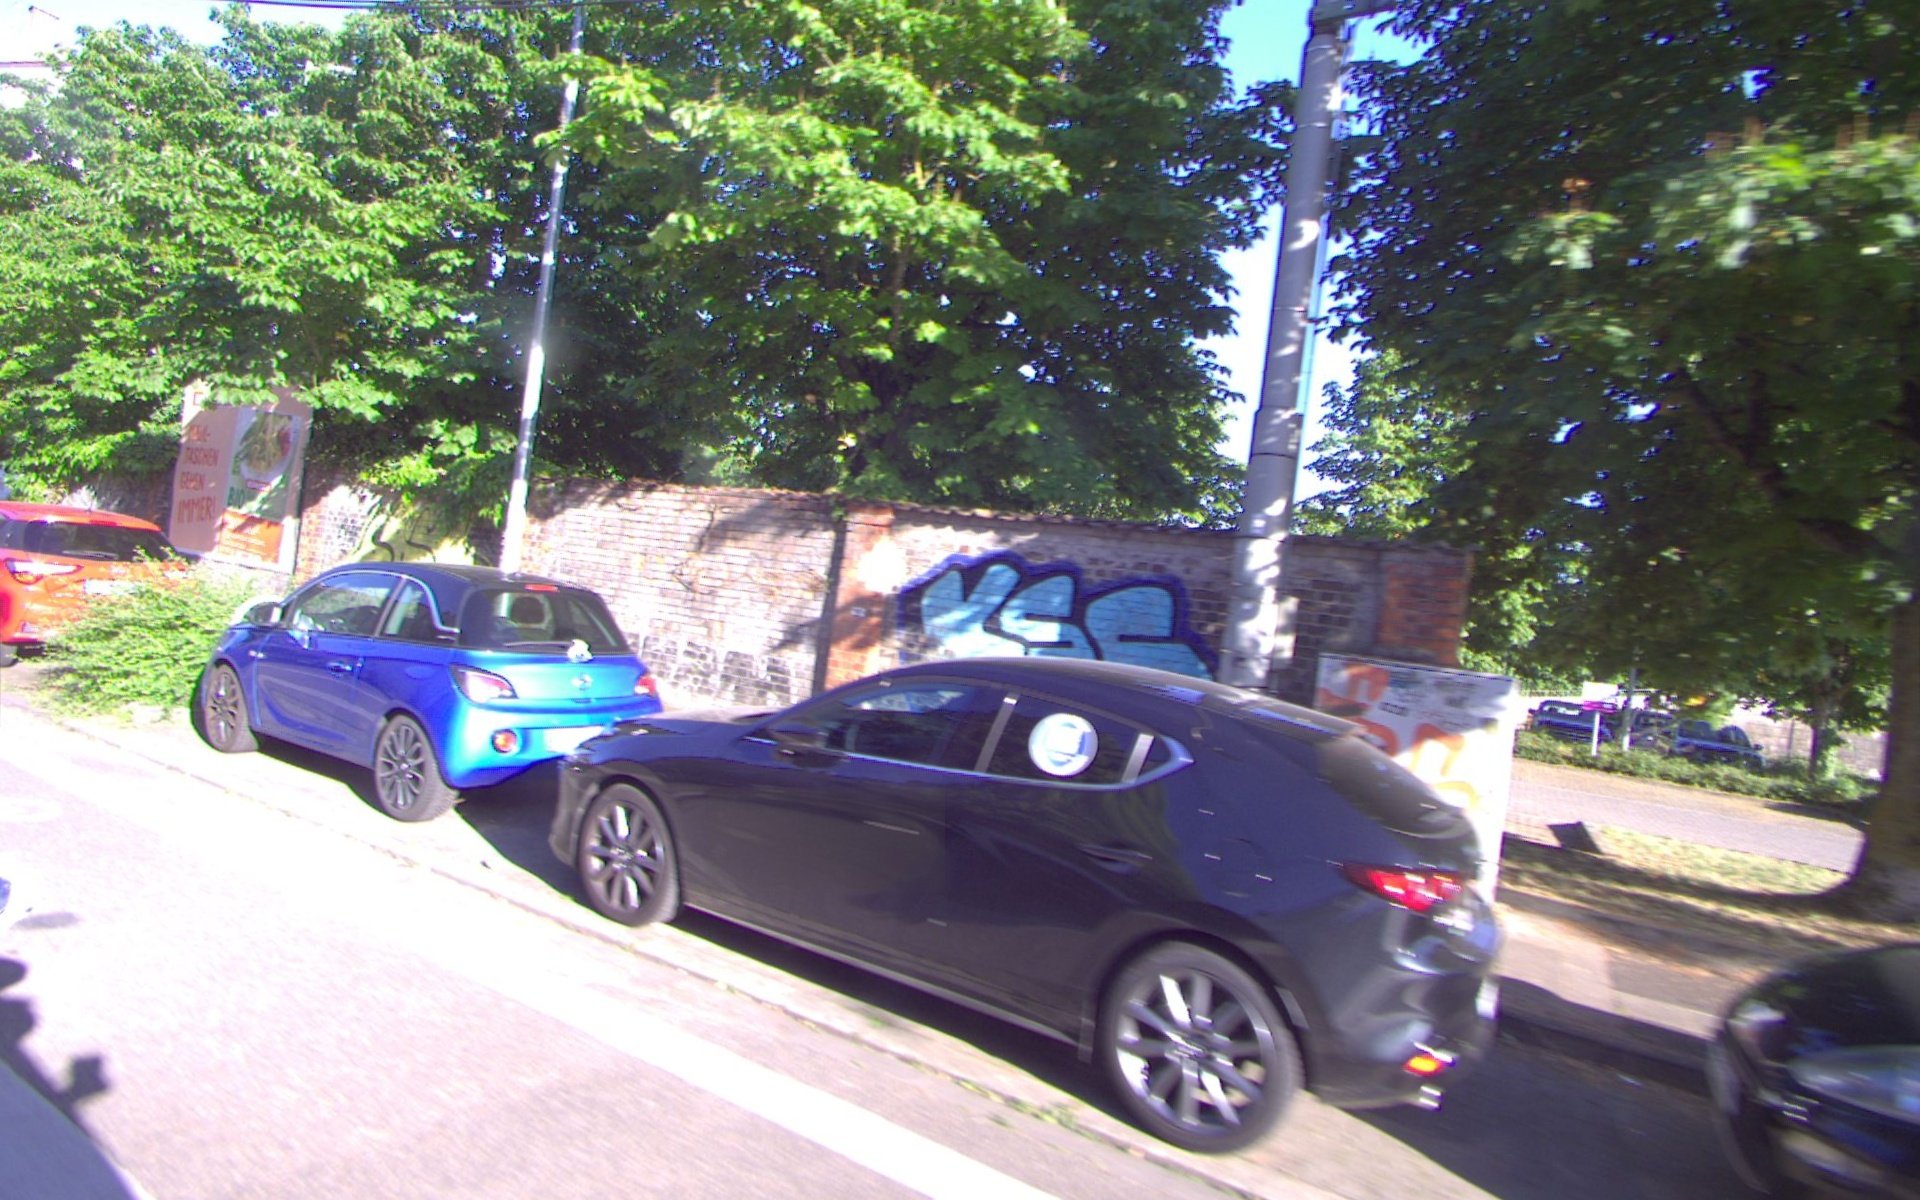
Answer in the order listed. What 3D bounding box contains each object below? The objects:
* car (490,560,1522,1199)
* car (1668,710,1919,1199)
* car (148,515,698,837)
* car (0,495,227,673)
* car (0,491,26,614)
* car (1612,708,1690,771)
[{"bbox_3d":[-0.037,0.841,4.556,4.285,1.549,1.690,7,0,33],"label":"car"},{"bbox_3d":[4.091,1.326,2.207,3.935,1.549,1.690,7,0,33],"label":"car"},{"bbox_3d":[-3.943,0.382,7.191,3.935,1.549,1.690,7,0,33],"label":"car"},{"bbox_3d":[-9.719,-0.275,10.486,3.930,1.549,1.692,7,0,28],"label":"car"},{"bbox_3d":[-14.169,-0.844,13.126,3.932,1.549,1.692,7,0,29],"label":"car"},{"bbox_3d":[26.017,5.212,37.990,1.713,1.944,4.138,7,-1,28],"label":"car"}]
